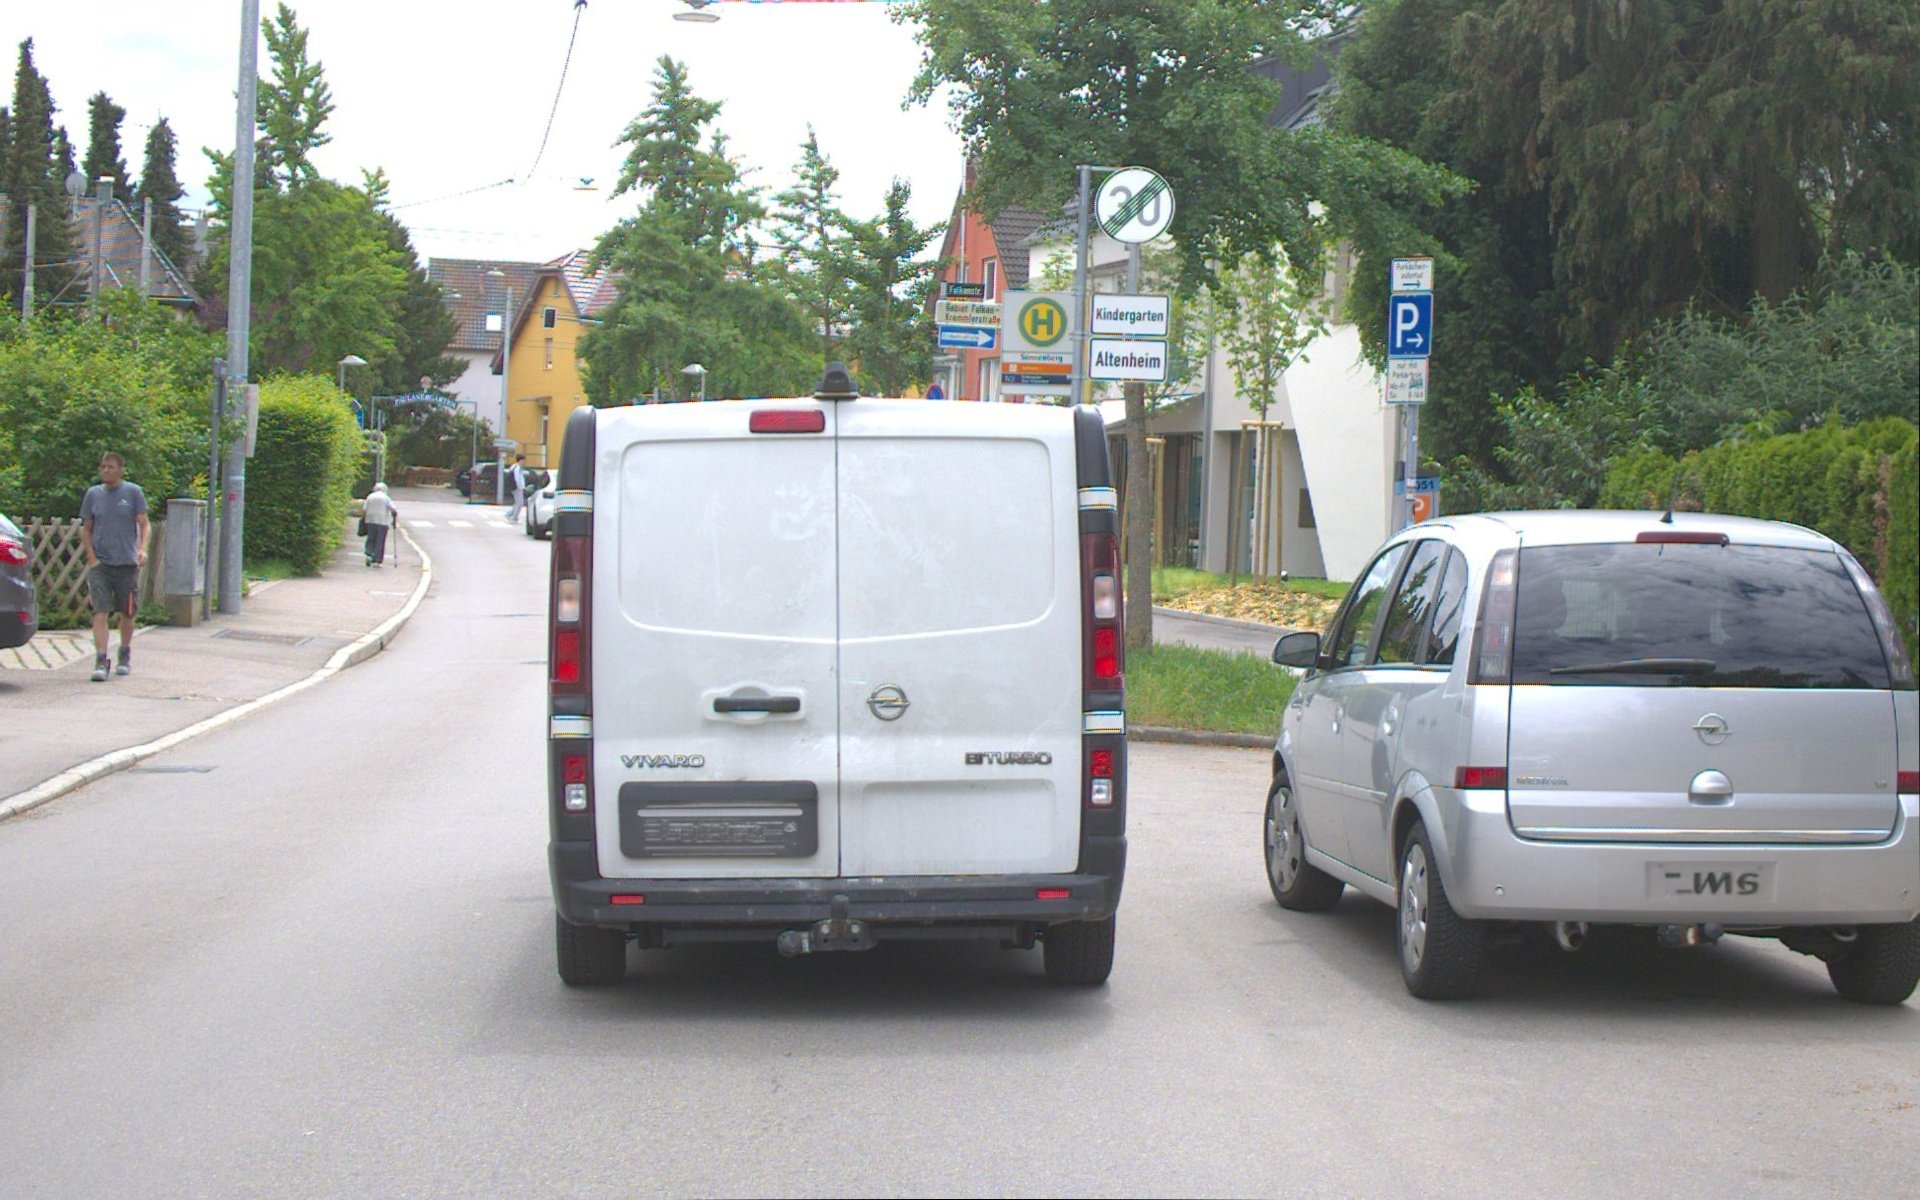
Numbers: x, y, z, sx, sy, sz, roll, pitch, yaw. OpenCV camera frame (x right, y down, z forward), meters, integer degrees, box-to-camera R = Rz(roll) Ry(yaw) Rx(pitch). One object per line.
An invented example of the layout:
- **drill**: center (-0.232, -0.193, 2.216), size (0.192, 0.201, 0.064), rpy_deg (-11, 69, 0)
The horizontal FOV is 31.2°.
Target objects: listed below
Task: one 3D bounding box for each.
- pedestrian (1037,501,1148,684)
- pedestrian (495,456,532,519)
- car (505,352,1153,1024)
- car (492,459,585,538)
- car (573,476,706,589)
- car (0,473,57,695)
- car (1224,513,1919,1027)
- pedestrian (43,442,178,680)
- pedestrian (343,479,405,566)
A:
- **pedestrian**: center (1.234, -0.078, 32.219), size (0.854, 1.639, 0.884), rpy_deg (4, 1, -3)
- **pedestrian**: center (-11.882, -2.995, 91.535), size (0.804, 1.604, 0.628), rpy_deg (4, 1, -13)
- **car**: center (-0.600, 0.230, 12.602), size (1.915, 1.996, 4.439), rpy_deg (1, 1, -5)
- **car**: center (-9.913, -2.373, 80.555), size (1.993, 1.776, 4.001), rpy_deg (1, 2, -9)
- **car**: center (-5.554, -1.180, 59.162), size (1.993, 1.842, 4.001), rpy_deg (1, 1, -9)
- **car**: center (-9.337, -0.277, 26.827), size (4.310, 1.690, 1.799), rpy_deg (4, 1, -15)
- **car**: center (2.156, 0.485, 12.598), size (1.759, 1.577, 4.019), rpy_deg (1, 1, -4)
- **pedestrian**: center (-7.232, -0.338, 29.298), size (0.733, 1.939, 1.217), rpy_deg (4, 1, -1)
- **pedestrian**: center (-10.379, -1.372, 60.886), size (0.876, 1.480, 0.455), rpy_deg (4, 1, -29)
